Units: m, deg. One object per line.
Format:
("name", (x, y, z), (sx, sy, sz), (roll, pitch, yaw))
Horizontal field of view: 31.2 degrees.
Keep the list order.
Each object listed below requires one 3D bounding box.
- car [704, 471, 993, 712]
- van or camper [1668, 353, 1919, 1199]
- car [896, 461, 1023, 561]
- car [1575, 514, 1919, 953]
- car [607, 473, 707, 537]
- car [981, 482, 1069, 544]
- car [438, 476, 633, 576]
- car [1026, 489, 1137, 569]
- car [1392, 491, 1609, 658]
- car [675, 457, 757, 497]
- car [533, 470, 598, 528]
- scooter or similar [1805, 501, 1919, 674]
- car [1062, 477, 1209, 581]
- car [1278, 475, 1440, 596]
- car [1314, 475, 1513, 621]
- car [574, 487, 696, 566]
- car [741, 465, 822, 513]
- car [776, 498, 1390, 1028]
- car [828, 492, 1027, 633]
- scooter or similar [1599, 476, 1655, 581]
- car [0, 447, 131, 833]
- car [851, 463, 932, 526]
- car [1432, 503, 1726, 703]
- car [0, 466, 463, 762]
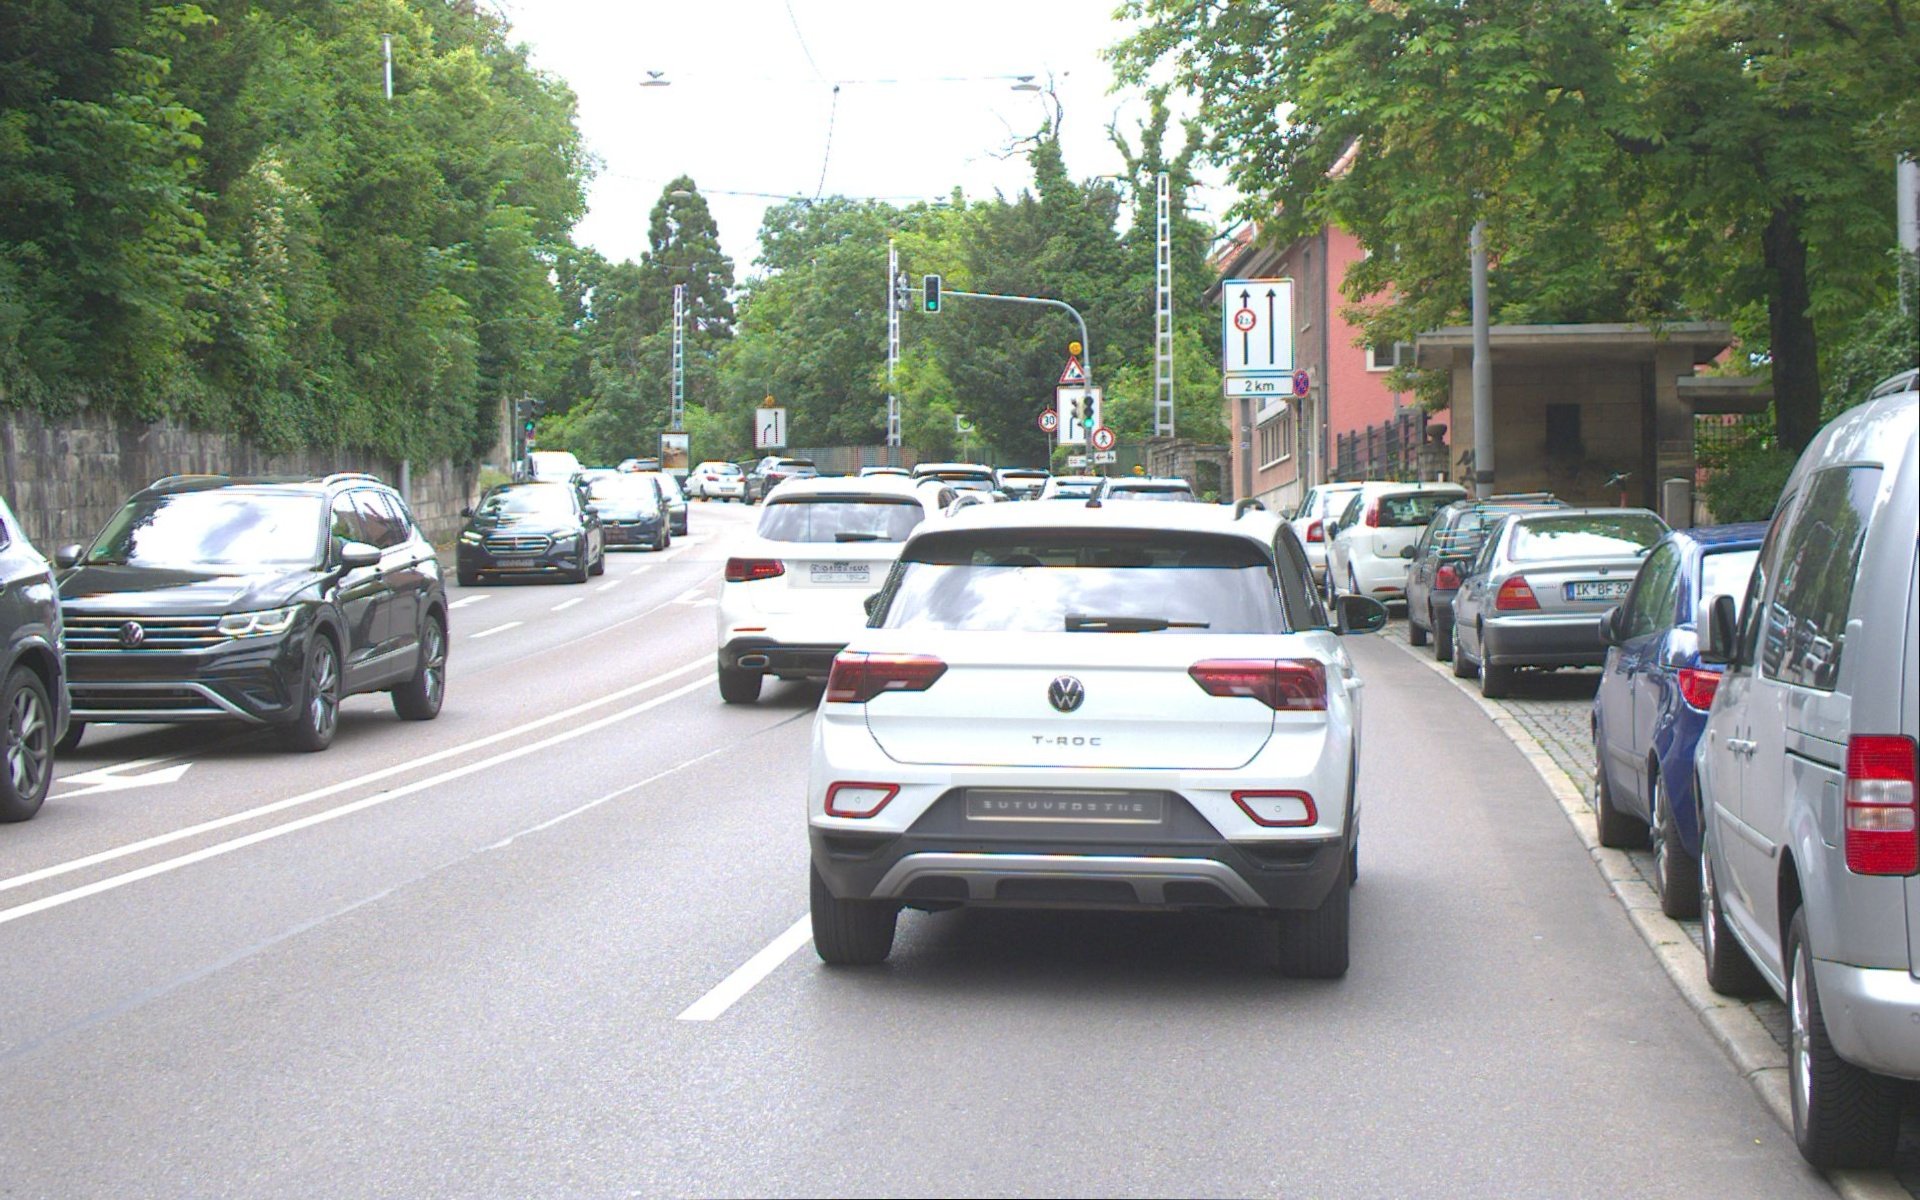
("car", (-0.752, -0.108, 25.596), (1.758, 1.604, 3.795), (2, 1, 4))
("van or camper", (2.892, 0.368, 9.032), (1.699, 1.838, 4.241), (0, 1, 7))
("car", (-0.007, -1.502, 57.039), (1.993, 1.551, 4.151), (1, 2, 0))
("car", (3.414, 0.412, 13.649), (1.598, 1.455, 3.941), (-1, 1, 6))
("car", (-6.990, -2.216, 79.647), (1.843, 1.404, 4.456), (-1, 2, 1))
("car", (1.524, -2.086, 82.191), (1.993, 1.445, 4.151), (0, 1, 0))
("car", (-6.328, -1.132, 51.765), (2.002, 1.404, 4.755), (-1, 2, 4))
("car", (2.260, -1.347, 64.925), (1.993, 1.445, 4.151), (0, 1, 1))
("car", (5.026, -0.282, 32.325), (1.561, 1.417, 3.424), (-3, 2, 2))
("car", (-9.105, -4.550, 127.856), (1.993, 1.445, 4.152), (0, 2, -20))
("car", (-13.279, -3.388, 115.514), (1.892, 1.841, 4.398), (-2, 2, -9))
("scooter or similar", (6.990, -0.118, 26.501), (0.561, 1.240, 1.999), (-5, 1, 6))
("car", (2.468, -1.021, 48.973), (1.993, 1.409, 4.151), (0, 1, 2))
("car", (5.191, -0.881, 45.141), (1.675, 1.456, 4.366), (-2, 2, 1))
("car", (5.189, -0.643, 39.795), (1.715, 1.466, 4.039), (-3, 3, 0))
("car", (-6.264, -1.450, 66.557), (1.842, 1.431, 4.000), (-1, 2, 2))
("car", (-6.051, -3.736, 116.183), (1.993, 1.569, 4.152), (0, 2, -13))
("car", (0.597, 0.449, 12.376), (1.758, 1.550, 3.794), (2, 1, 8))
("car", (-0.304, -0.449, 38.612), (1.994, 1.484, 4.150), (0, 1, 3))
("scooter or similar", (8.318, -0.899, 42.919), (0.517, 1.256, 1.168), (-2, 2, 5))
("car", (-5.385, 0.211, 14.953), (1.960, 1.743, 4.877), (-1, 2, 5))
("car", (-1.688, -2.552, 83.162), (1.780, 1.449, 4.001), (1, 2, -3))
("car", (4.736, -0.042, 26.841), (1.770, 1.394, 4.551), (-1, 2, 4))
("car", (-4.605, 0.020, 21.847), (1.848, 1.646, 4.624), (-1, 2, 5))
